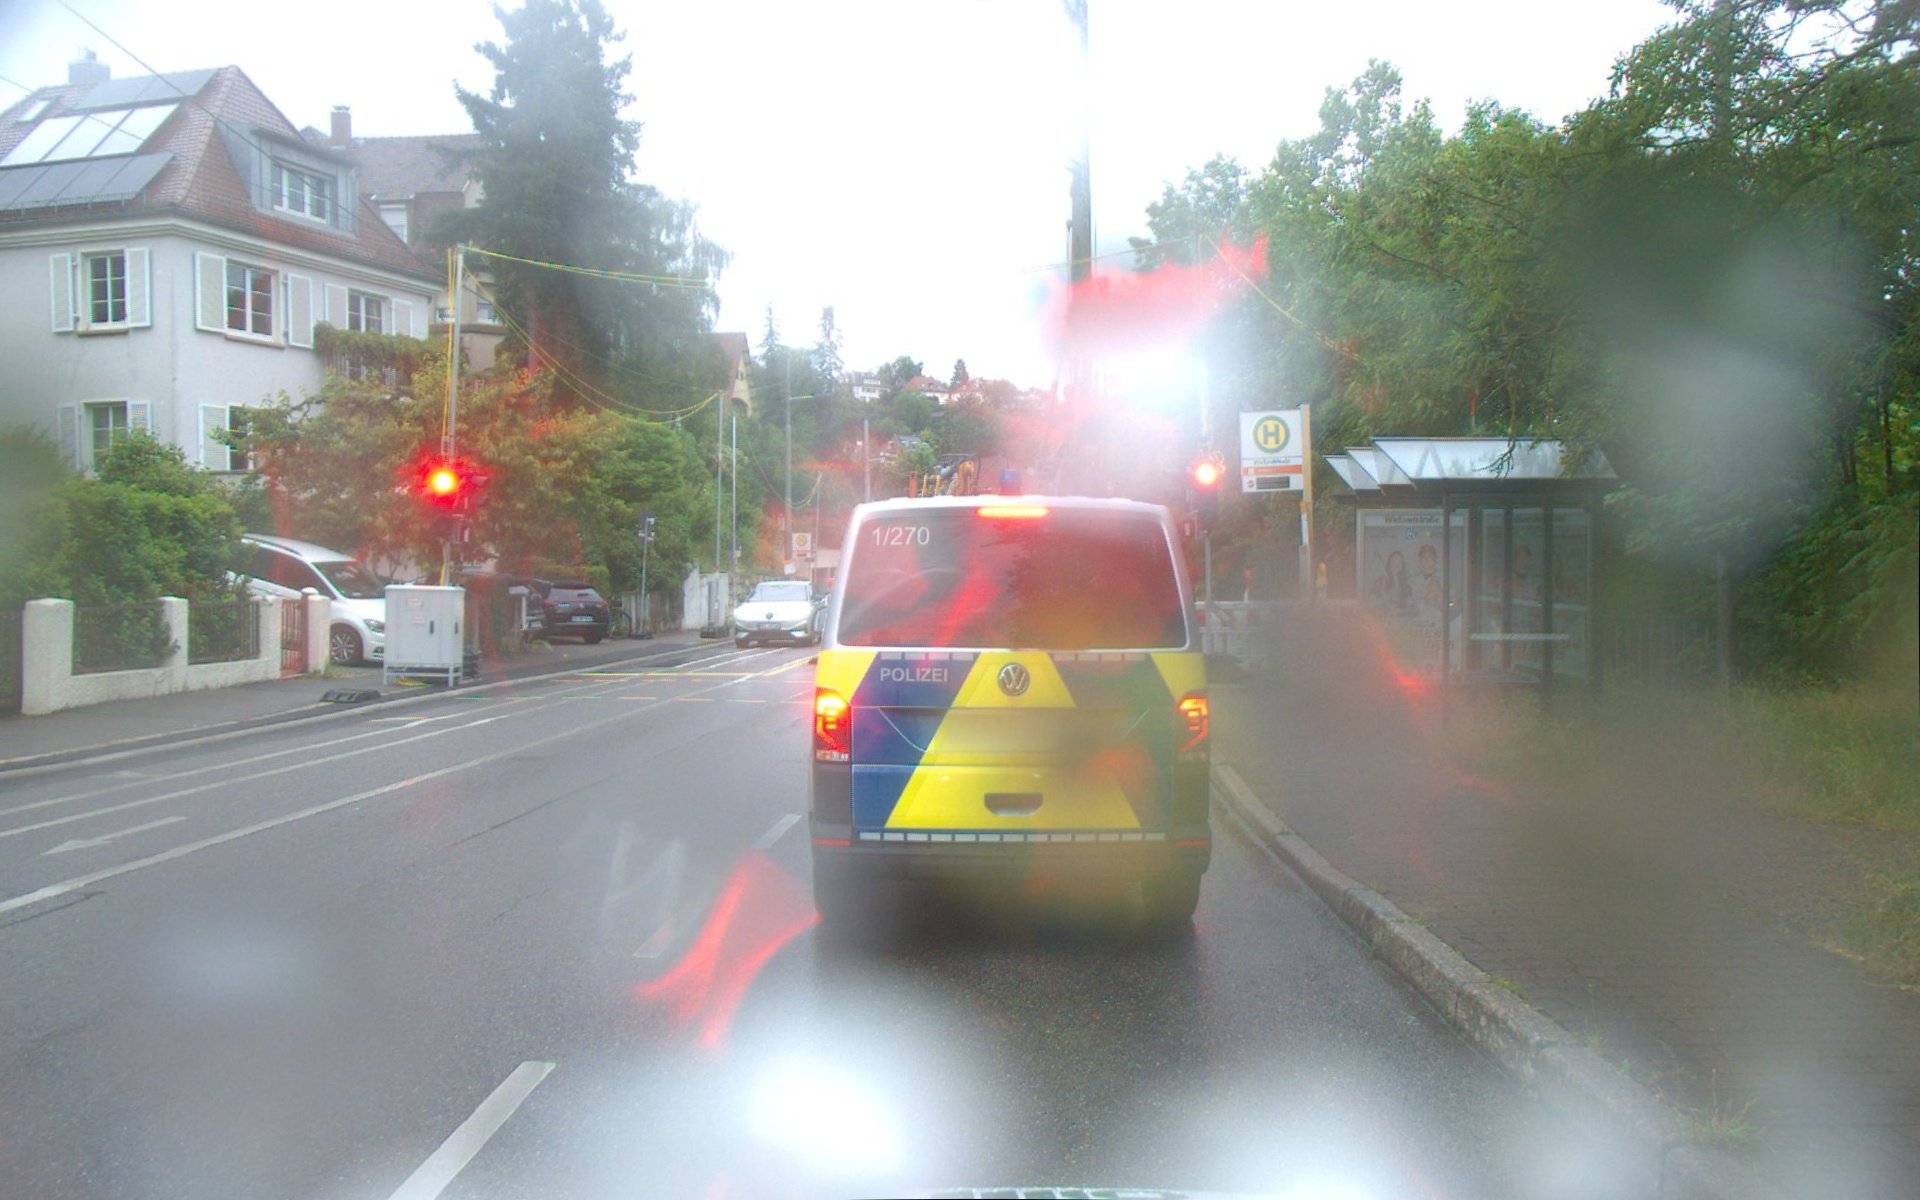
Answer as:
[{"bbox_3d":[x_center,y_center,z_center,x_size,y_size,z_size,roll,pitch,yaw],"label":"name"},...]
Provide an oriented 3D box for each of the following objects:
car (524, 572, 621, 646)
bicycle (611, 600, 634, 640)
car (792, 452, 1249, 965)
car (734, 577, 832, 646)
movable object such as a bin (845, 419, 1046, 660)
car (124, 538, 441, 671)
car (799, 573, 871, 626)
[{"bbox_3d":[-8.914,0.176,37.828,1.739,1.512,3.721,1,2,-20],"label":"car"},{"bbox_3d":[-8.056,0.467,39.454,0.455,0.913,1.628,0,0,-15],"label":"bicycle"},{"bbox_3d":[0.224,0.436,8.821,1.855,2.086,3.999,1,0,-1],"label":"car"},{"bbox_3d":[-4.239,0.278,40.273,1.815,1.554,4.819,1,0,0],"label":"car"},{"bbox_3d":[-0.169,-1.094,31.639,2.770,4.250,4.384,1,0,14],"label":"movable object such as a bin"},{"bbox_3d":[-11.211,0.056,27.490,4.532,2.042,1.902,1,0,11],"label":"car"},{"bbox_3d":[-4.083,-0.005,54.447,1.828,1.650,4.166,1,0,3],"label":"car"}]
